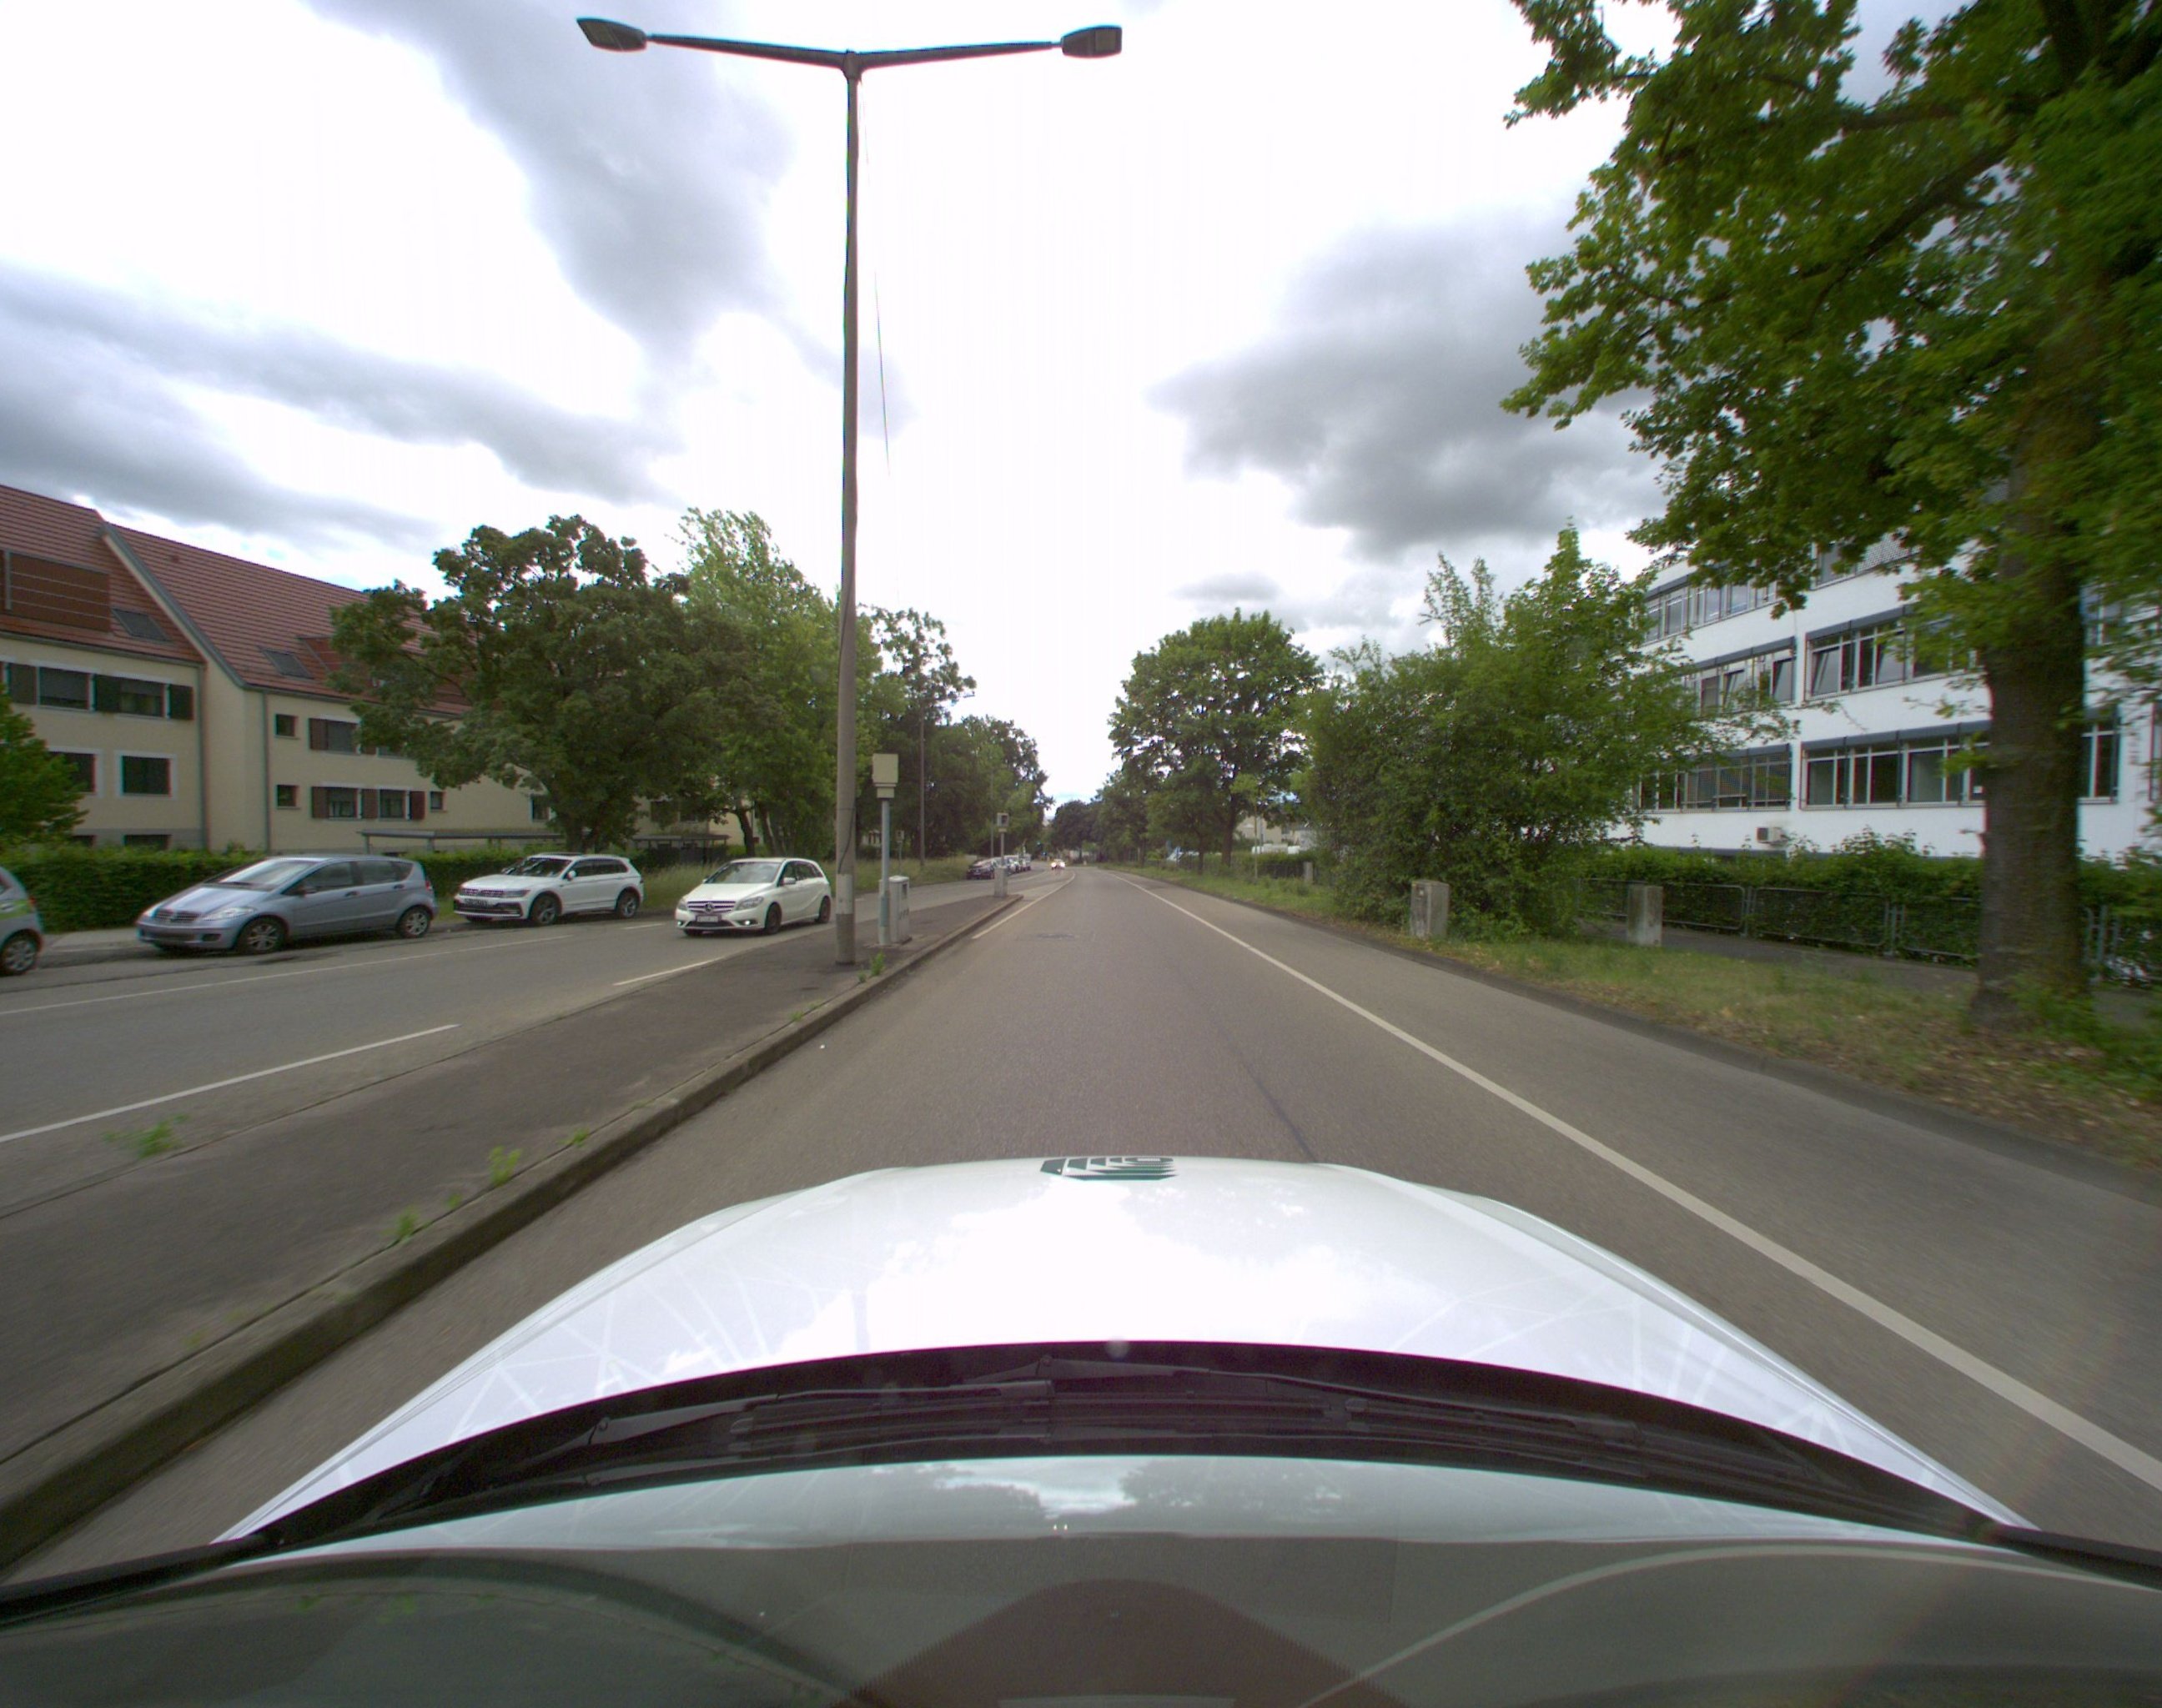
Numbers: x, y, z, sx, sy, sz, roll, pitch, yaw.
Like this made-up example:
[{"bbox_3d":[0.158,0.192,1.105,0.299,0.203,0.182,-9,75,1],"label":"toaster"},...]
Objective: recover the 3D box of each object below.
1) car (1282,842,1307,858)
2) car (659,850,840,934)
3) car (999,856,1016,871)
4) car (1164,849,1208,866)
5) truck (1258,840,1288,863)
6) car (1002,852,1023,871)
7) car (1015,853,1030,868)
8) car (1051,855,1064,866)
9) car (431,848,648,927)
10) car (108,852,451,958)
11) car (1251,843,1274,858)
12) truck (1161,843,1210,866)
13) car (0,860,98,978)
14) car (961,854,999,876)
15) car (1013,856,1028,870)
[{"bbox_3d":[40.365,-0.782,153.591,2.234,2.676,5.483,0,2,43],"label":"car"},{"bbox_3d":[-6.874,0.748,17.461,1.867,1.570,4.342,0,-1,3],"label":"car"},{"bbox_3d":[-7.290,0.959,80.846,1.632,1.433,3.944,1,0,-5],"label":"car"},{"bbox_3d":[15.195,0.484,117.663,6.040,2.367,2.343,1,-1,-25],"label":"car"},{"bbox_3d":[30.637,-0.332,130.089,2.842,3.459,9.545,1,-1,2],"label":"truck"},{"bbox_3d":[-7.279,0.760,86.963,1.762,1.931,5.154,1,0,0],"label":"car"},{"bbox_3d":[-8.071,0.918,112.731,1.861,1.963,5.122,0,0,-2],"label":"car"},{"bbox_3d":[-3.316,0.878,115.204,1.632,1.467,4.000,-1,-1,0],"label":"car"},{"bbox_3d":[-12.856,0.723,19.758,1.864,1.667,4.401,0,0,9],"label":"car"},{"bbox_3d":[-13.912,0.773,14.531,1.864,1.596,4.010,0,0,9],"label":"car"},{"bbox_3d":[34.682,-0.764,155.451,2.233,2.676,5.485,0,2,37],"label":"car"},{"bbox_3d":[16.165,-0.008,125.588,7.200,3.477,2.597,0,0,-26],"label":"truck"},{"bbox_3d":[-14.672,0.854,9.705,1.880,1.507,3.977,0,0,-17],"label":"car"},{"bbox_3d":[-7.191,0.772,58.396,1.867,1.570,4.654,0,0,3],"label":"car"},{"bbox_3d":[-7.251,1.056,97.984,1.669,1.564,4.277,-1,-1,-2],"label":"car"}]
